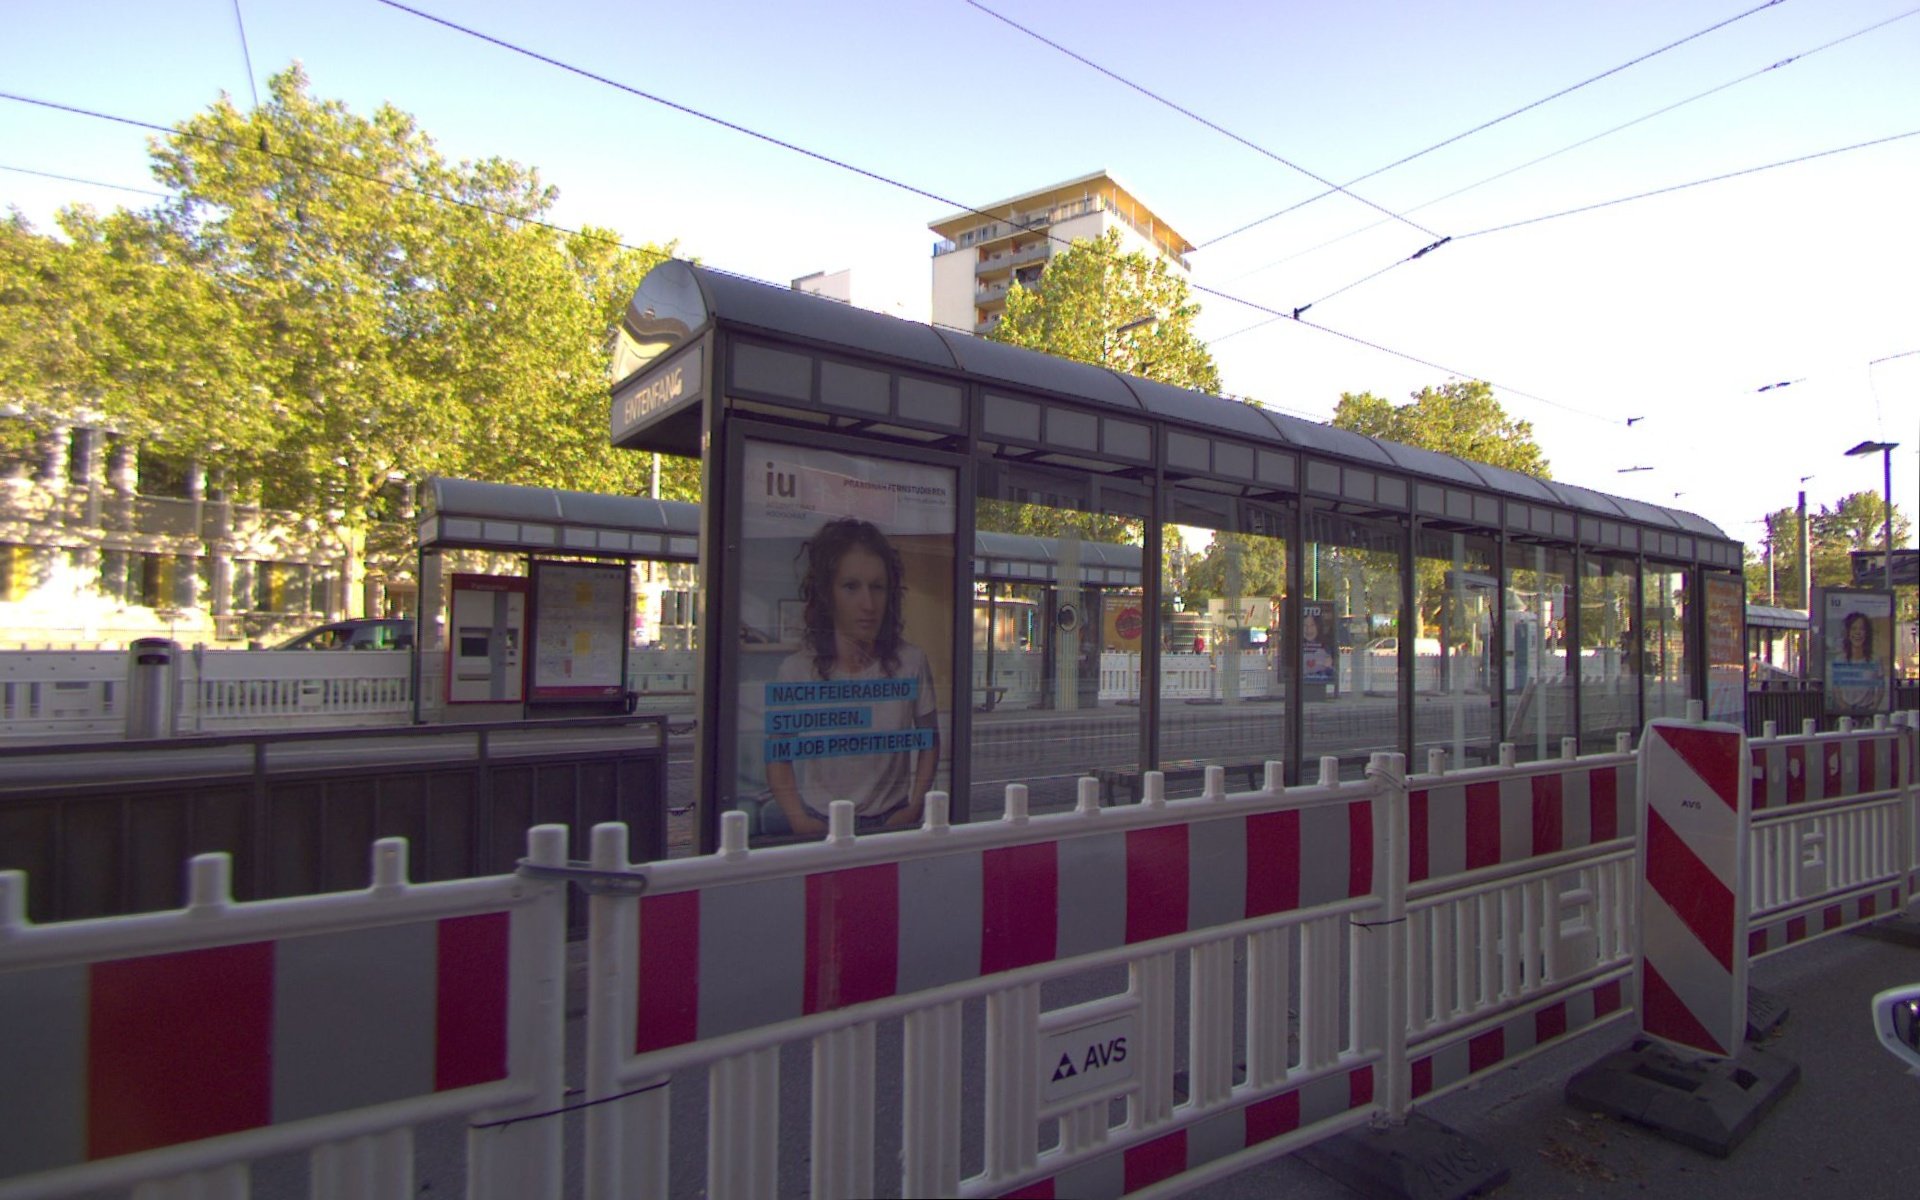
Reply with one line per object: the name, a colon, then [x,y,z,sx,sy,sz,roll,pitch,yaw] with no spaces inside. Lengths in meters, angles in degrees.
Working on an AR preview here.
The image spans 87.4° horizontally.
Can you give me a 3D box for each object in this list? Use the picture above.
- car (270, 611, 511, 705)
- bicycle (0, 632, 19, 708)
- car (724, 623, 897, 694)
car: [-11.215,1.129,19.921,3.958,1.683,1.902,3,-2,-34]
bicycle: [-16.561,1.093,15.797,2.456,1.223,0.685,2,-2,-35]
car: [-3.798,1.472,25.784,3.961,1.683,1.901,3,-3,-35]
